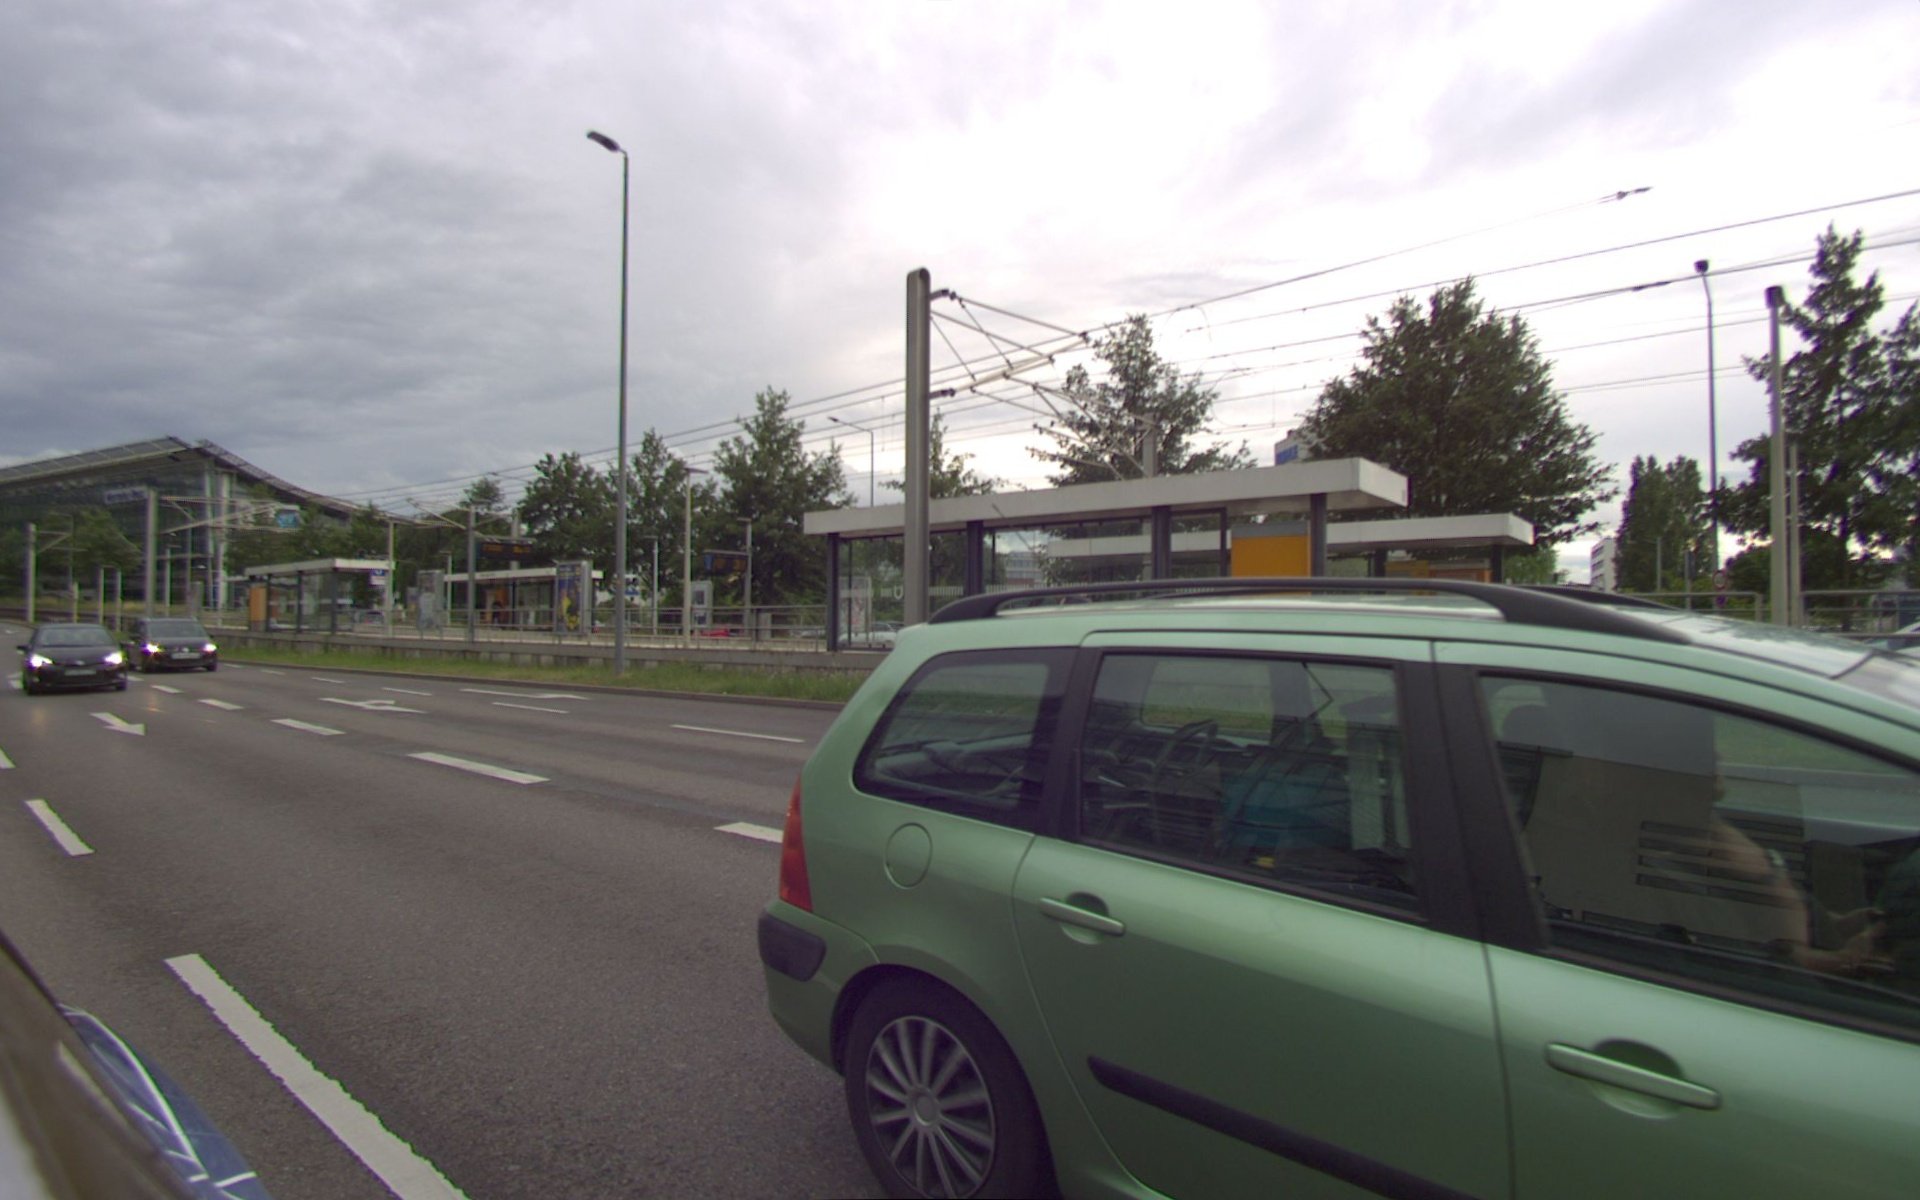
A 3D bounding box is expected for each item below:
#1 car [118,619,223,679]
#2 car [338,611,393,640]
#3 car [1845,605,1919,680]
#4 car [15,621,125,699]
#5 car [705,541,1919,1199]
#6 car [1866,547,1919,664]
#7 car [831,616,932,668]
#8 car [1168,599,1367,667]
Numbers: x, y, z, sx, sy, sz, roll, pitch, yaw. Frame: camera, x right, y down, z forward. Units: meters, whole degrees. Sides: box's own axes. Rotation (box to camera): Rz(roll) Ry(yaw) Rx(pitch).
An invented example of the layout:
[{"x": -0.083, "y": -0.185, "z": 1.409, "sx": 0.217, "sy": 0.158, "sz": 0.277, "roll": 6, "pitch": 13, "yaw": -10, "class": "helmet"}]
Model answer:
[{"x": -23.866, "y": 1.432, "z": 30.545, "sx": 4.190, "sy": 1.604, "sz": 1.709, "roll": 0, "pitch": 1, "yaw": 41, "class": "car"}, {"x": -40.672, "y": 1.700, "z": 69.196, "sx": 3.995, "sy": 1.861, "sz": 1.974, "roll": 0, "pitch": 1, "yaw": 39, "class": "car"}, {"x": 23.938, "y": 0.996, "z": 23.772, "sx": 4.663, "sy": 1.712, "sz": 2.083, "roll": 0, "pitch": 1, "yaw": 41, "class": "car"}, {"x": -19.901, "y": 1.277, "z": 22.577, "sx": 1.673, "sy": 1.534, "sz": 3.907, "roll": -1, "pitch": -1, "yaw": -44, "class": "car"}, {"x": 1.518, "y": 0.658, "z": 2.001, "sx": 4.400, "sy": 1.479, "sz": 1.677, "roll": 0, "pitch": 0, "yaw": 40, "class": "car"}, {"x": 20.339, "y": 0.083, "z": 18.800, "sx": 5.140, "sy": 2.231, "sz": 1.973, "roll": 0, "pitch": 1, "yaw": 40, "class": "car"}, {"x": -3.347, "y": 1.709, "z": 42.757, "sx": 3.997, "sy": 2.029, "sz": 1.973, "roll": 0, "pitch": 1, "yaw": 40, "class": "car"}, {"x": 8.634, "y": 0.857, "z": 28.638, "sx": 5.024, "sy": 1.744, "sz": 1.974, "roll": 0, "pitch": 1, "yaw": 38, "class": "car"}]
